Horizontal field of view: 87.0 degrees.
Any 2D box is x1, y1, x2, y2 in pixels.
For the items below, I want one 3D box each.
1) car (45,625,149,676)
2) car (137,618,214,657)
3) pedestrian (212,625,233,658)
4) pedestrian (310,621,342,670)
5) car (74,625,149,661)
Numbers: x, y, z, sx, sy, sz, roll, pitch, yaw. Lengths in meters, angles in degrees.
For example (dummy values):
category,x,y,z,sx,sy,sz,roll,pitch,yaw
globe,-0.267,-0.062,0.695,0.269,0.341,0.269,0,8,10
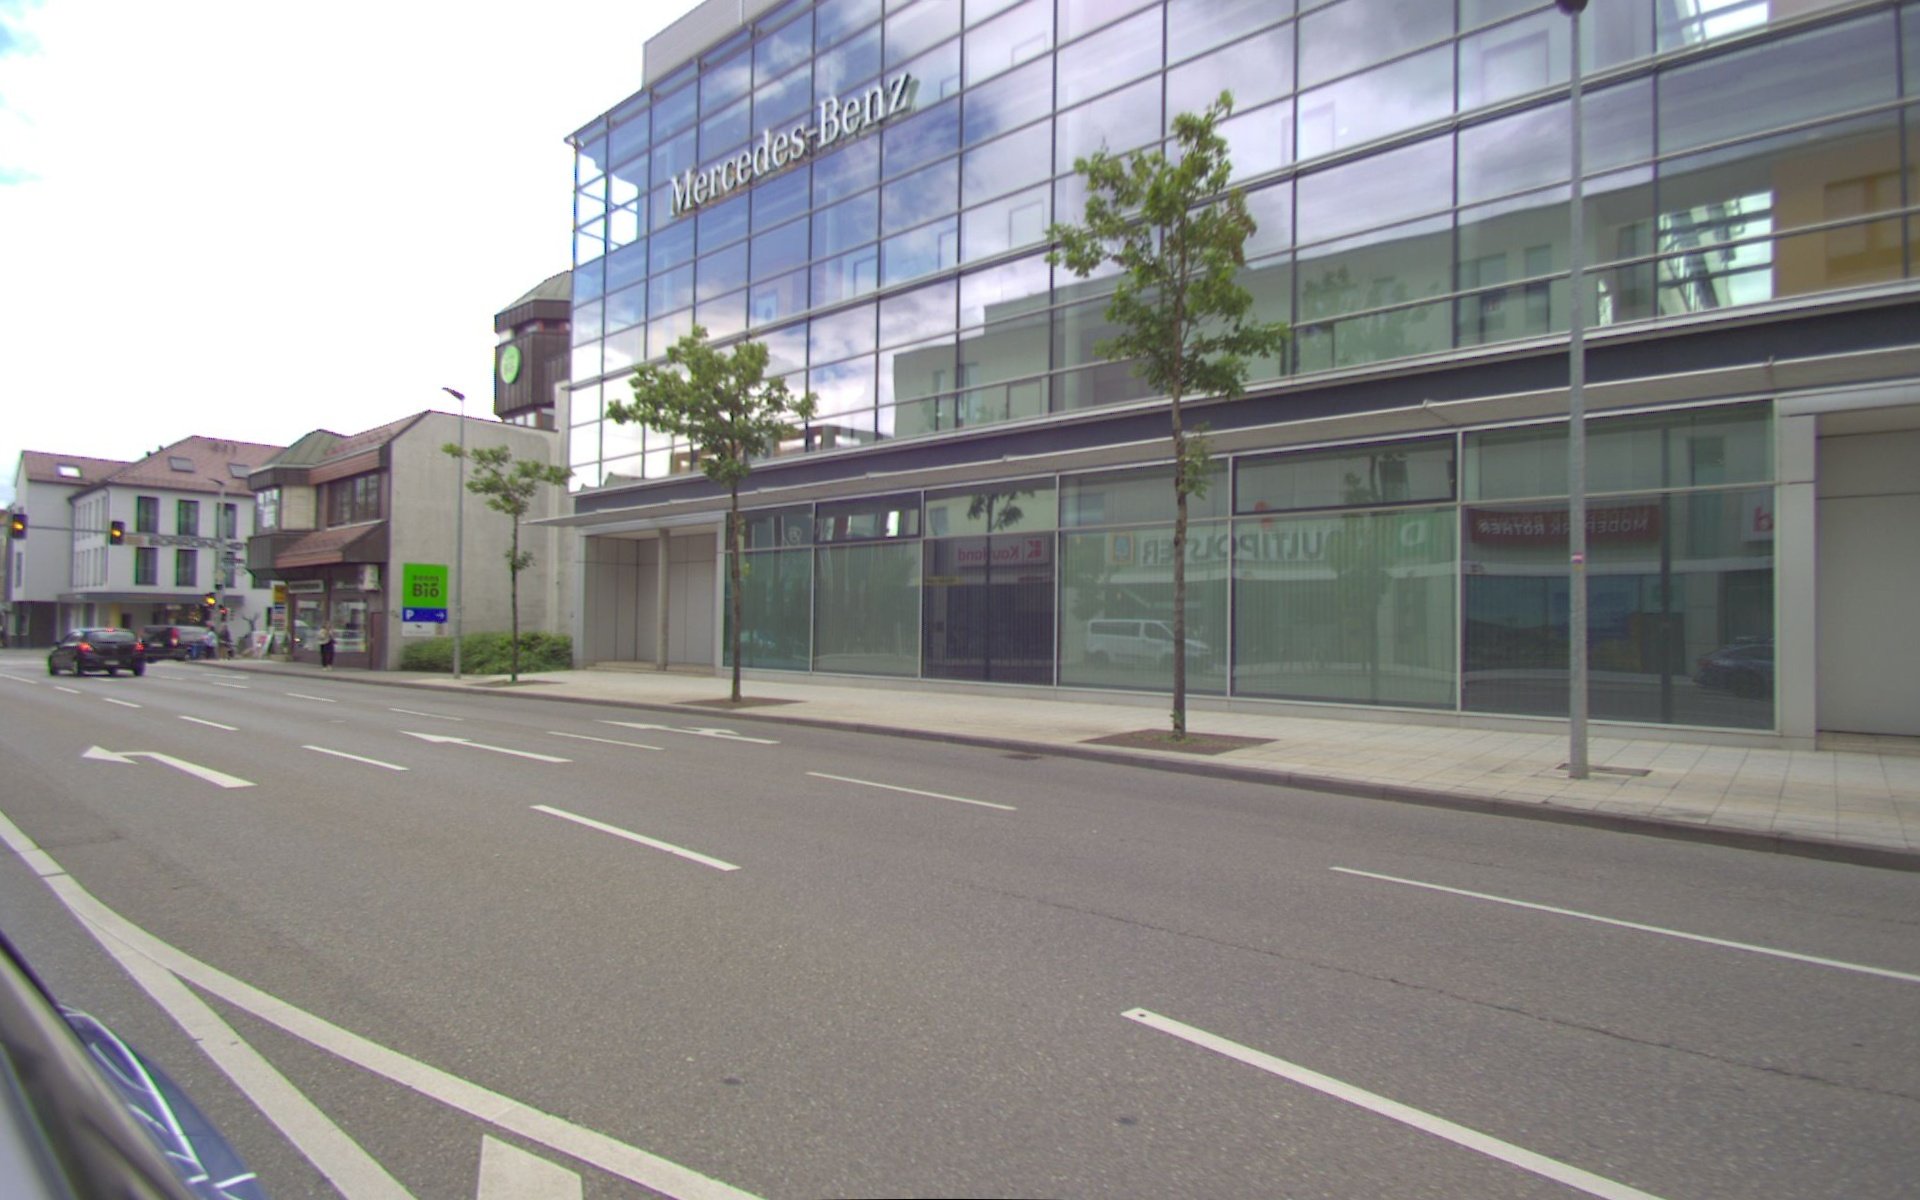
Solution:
category,x,y,z,sx,sy,sz,roll,pitch,yaw
car,-26.792,1.541,31.379,3.997,1.478,1.779,-1,-3,40
car,-39.425,1.896,50.992,1.905,1.909,4.013,1,-2,-20
pedestrian,-34.926,1.975,47.924,0.577,1.527,0.552,0,-2,9
pedestrian,-21.534,1.528,34.378,0.693,1.636,0.693,-2,-3,41
car,-36.978,1.848,44.090,3.999,1.478,1.912,-1,-3,42
